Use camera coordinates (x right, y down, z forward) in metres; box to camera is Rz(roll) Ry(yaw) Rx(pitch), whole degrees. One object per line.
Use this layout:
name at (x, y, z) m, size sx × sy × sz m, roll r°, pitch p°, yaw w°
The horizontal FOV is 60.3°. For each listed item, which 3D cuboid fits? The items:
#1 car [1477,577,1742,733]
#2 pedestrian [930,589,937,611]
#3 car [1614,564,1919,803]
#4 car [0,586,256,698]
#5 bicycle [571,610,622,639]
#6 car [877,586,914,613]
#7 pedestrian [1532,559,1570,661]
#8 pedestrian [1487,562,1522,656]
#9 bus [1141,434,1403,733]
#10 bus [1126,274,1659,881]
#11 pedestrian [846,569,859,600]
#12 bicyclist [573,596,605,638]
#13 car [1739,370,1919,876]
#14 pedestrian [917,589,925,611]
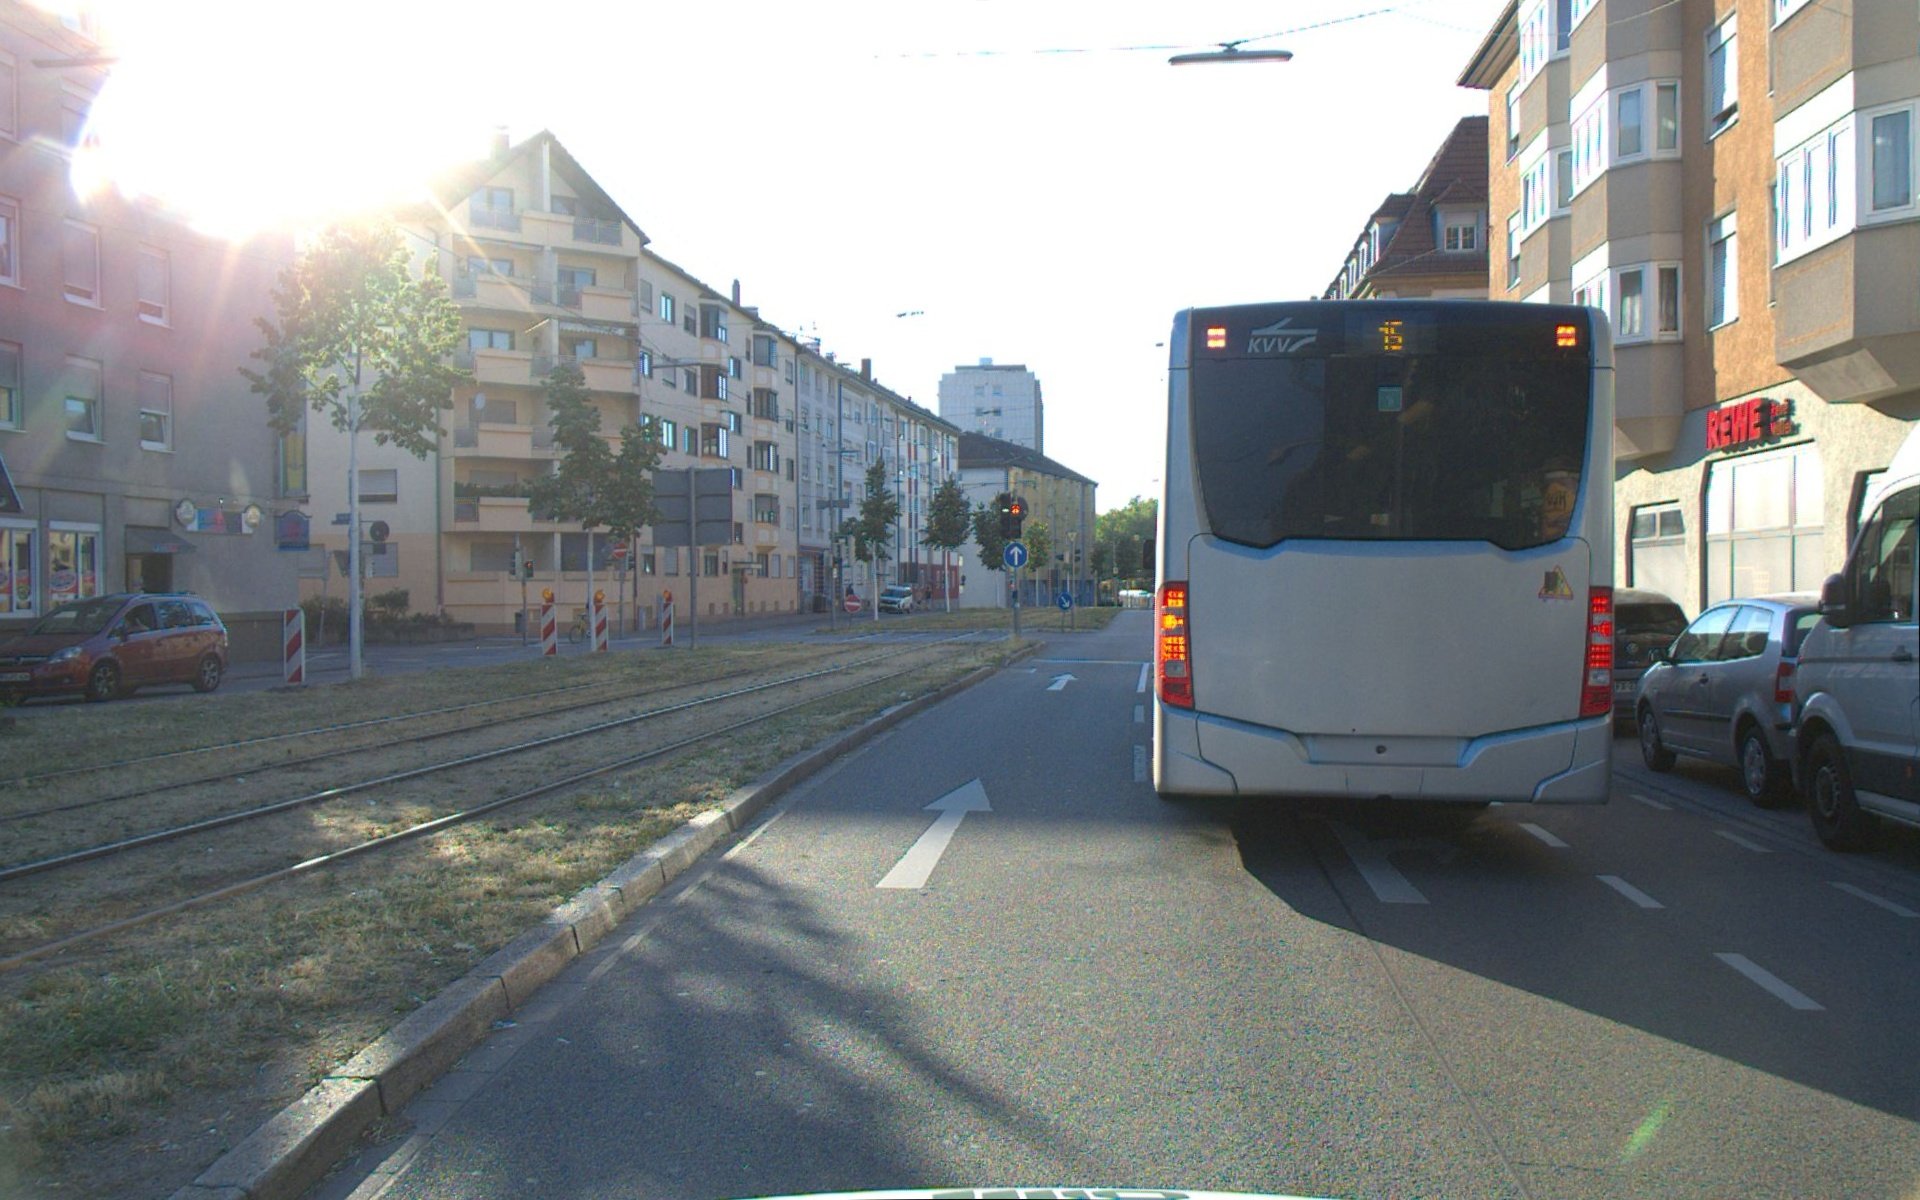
car at (7.269, 0.549, 18.968) m, size 1.799 × 1.563 × 4.233 m, roll -1°, pitch 0°, yaw 7°
pedestrian at (-2.062, -0.017, 128.990) m, size 0.485 × 1.687 × 0.409 m, roll -1°, pitch 0°, yaw 7°
car at (6.630, 0.550, 13.060) m, size 1.799 × 1.616 × 3.788 m, roll -1°, pitch 0°, yaw 7°
car at (-13.473, 0.614, 26.385) m, size 1.773 × 1.587 × 4.938 m, roll 1°, pitch 0°, yaw 8°
bicycle at (-12.987, 0.869, 59.102) m, size 0.519 × 1.001 × 1.875 m, roll -1°, pitch 0°, yaw 37°
car at (-4.485, -0.073, 115.020) m, size 1.773 × 1.829 × 4.248 m, roll -1°, pitch 0°, yaw 8°
pedestrian at (10.693, 0.184, 29.931) m, size 0.535 × 1.815 × 0.450 m, roll 1°, pitch 0°, yaw 7°
pedestrian at (10.669, 0.168, 32.431) m, size 0.535 × 1.815 × 0.450 m, roll -1°, pitch 0°, yaw 6°
bus at (3.807, -0.218, 21.924) m, size 2.680 × 3.109 × 9.138 m, roll 1°, pitch 0°, yaw 7°
bus at (2.751, -0.161, 13.020) m, size 2.680 × 3.109 × 8.860 m, roll 1°, pitch 0°, yaw 7°
pedestrian at (-7.053, -1.010, 108.605) m, size 0.770 × 2.049 × 0.891 m, roll -1°, pitch 0°, yaw 3°
bicyclist at (-13.206, 0.601, 58.874) m, size 0.519 × 1.472 × 0.961 m, roll -1°, pitch 0°, yaw 37°
car at (5.809, 0.077, 7.785) m, size 1.974 × 2.595 × 5.789 m, roll -4°, pitch 0°, yaw 7°
pedestrian at (-3.036, -0.022, 128.783) m, size 0.485 × 1.687 × 0.409 m, roll -1°, pitch 0°, yaw 7°
